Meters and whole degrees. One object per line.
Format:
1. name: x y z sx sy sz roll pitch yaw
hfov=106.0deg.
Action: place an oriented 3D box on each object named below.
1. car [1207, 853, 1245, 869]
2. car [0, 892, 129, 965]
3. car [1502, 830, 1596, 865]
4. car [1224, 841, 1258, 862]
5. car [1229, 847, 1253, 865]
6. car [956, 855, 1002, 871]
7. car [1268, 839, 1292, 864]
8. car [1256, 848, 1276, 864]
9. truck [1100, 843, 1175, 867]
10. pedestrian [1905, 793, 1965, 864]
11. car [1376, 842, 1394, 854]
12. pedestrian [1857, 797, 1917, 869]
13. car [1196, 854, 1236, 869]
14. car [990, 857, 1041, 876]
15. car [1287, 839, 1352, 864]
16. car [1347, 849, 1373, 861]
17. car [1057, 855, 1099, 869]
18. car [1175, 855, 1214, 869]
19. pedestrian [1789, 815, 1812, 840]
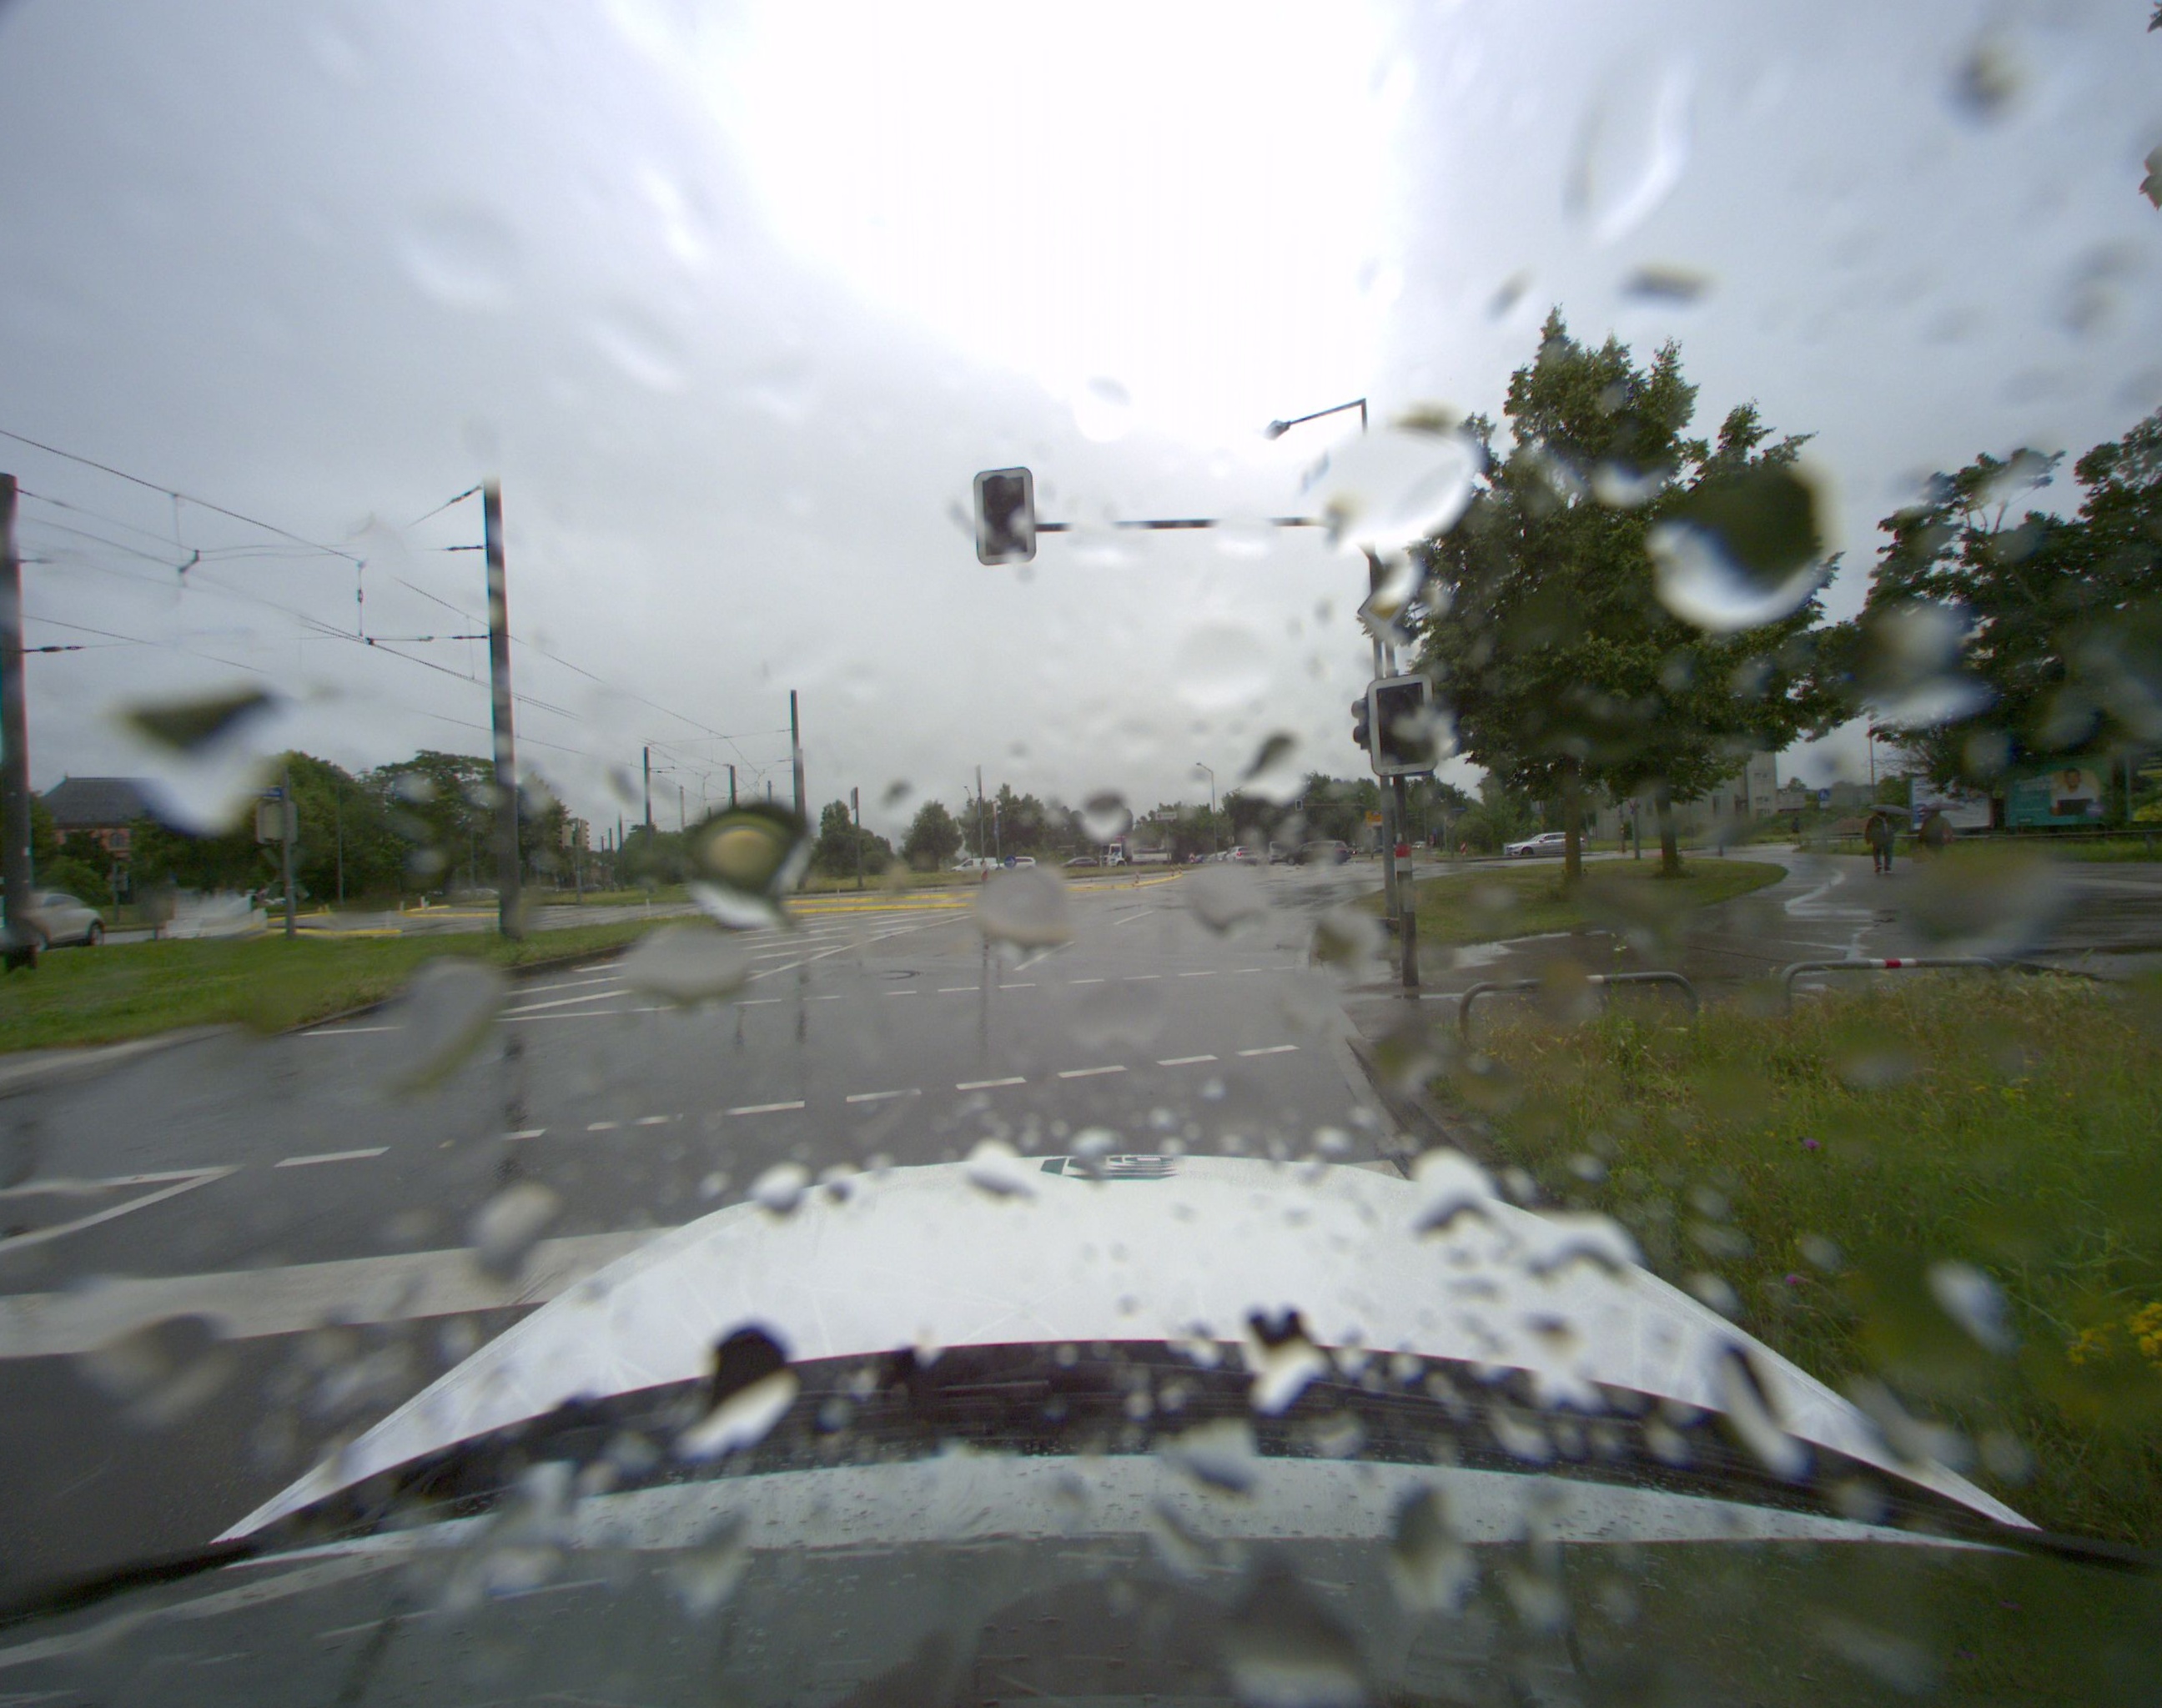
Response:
1. car: 16.321 0.765 91.684 4.894 1.744 1.756 0 -1 -45
2. car: -25.657 1.765 19.773 1.856 1.486 4.188 0 -1 -28
3. car: 29.530 -0.419 51.458 4.804 1.810 1.790 -5 0 1
4. car: 12.688 -0.162 64.754 1.677 1.648 3.941 0 -1 -4
5. car: 14.169 0.183 72.174 1.675 1.492 3.266 -1 -1 18
6. car: -10.304 0.892 82.109 4.536 1.492 1.605 0 -1 -12
7. car: 17.350 -0.208 70.829 1.769 2.036 4.017 -1 -1 17
8. car: 17.721 0.203 77.905 1.675 1.492 3.265 -1 -1 17
9. truck: 6.518 0.090 92.729 8.820 2.711 1.981 0 -1 -29
10. pedestrian: 21.984 -0.627 20.973 0.811 1.784 0.914 0 -1 -33
11. car: 53.339 -1.100 142.929 1.771 2.014 3.697 -1 -1 39
12. pedestrian: 20.582 -0.508 20.806 0.811 1.784 0.914 0 -1 -33
13. car: 16.012 0.913 96.364 4.889 1.744 1.758 0 -1 -38
14. car: -6.358 1.207 78.762 4.847 1.744 1.773 0 -1 -8
15. car: 16.556 -0.161 56.554 3.948 1.648 1.800 -1 -1 39
16. car: 41.208 0.170 120.289 1.975 1.750 4.023 -1 -1 45
17. car: -0.318 0.842 85.218 4.158 1.492 1.598 0 -1 -25
18. car: 13.746 0.948 98.682 4.889 1.744 1.758 0 -1 -38
19. pedestrian: 50.650 -1.859 57.329 0.947 1.772 0.715 -1 -1 11
